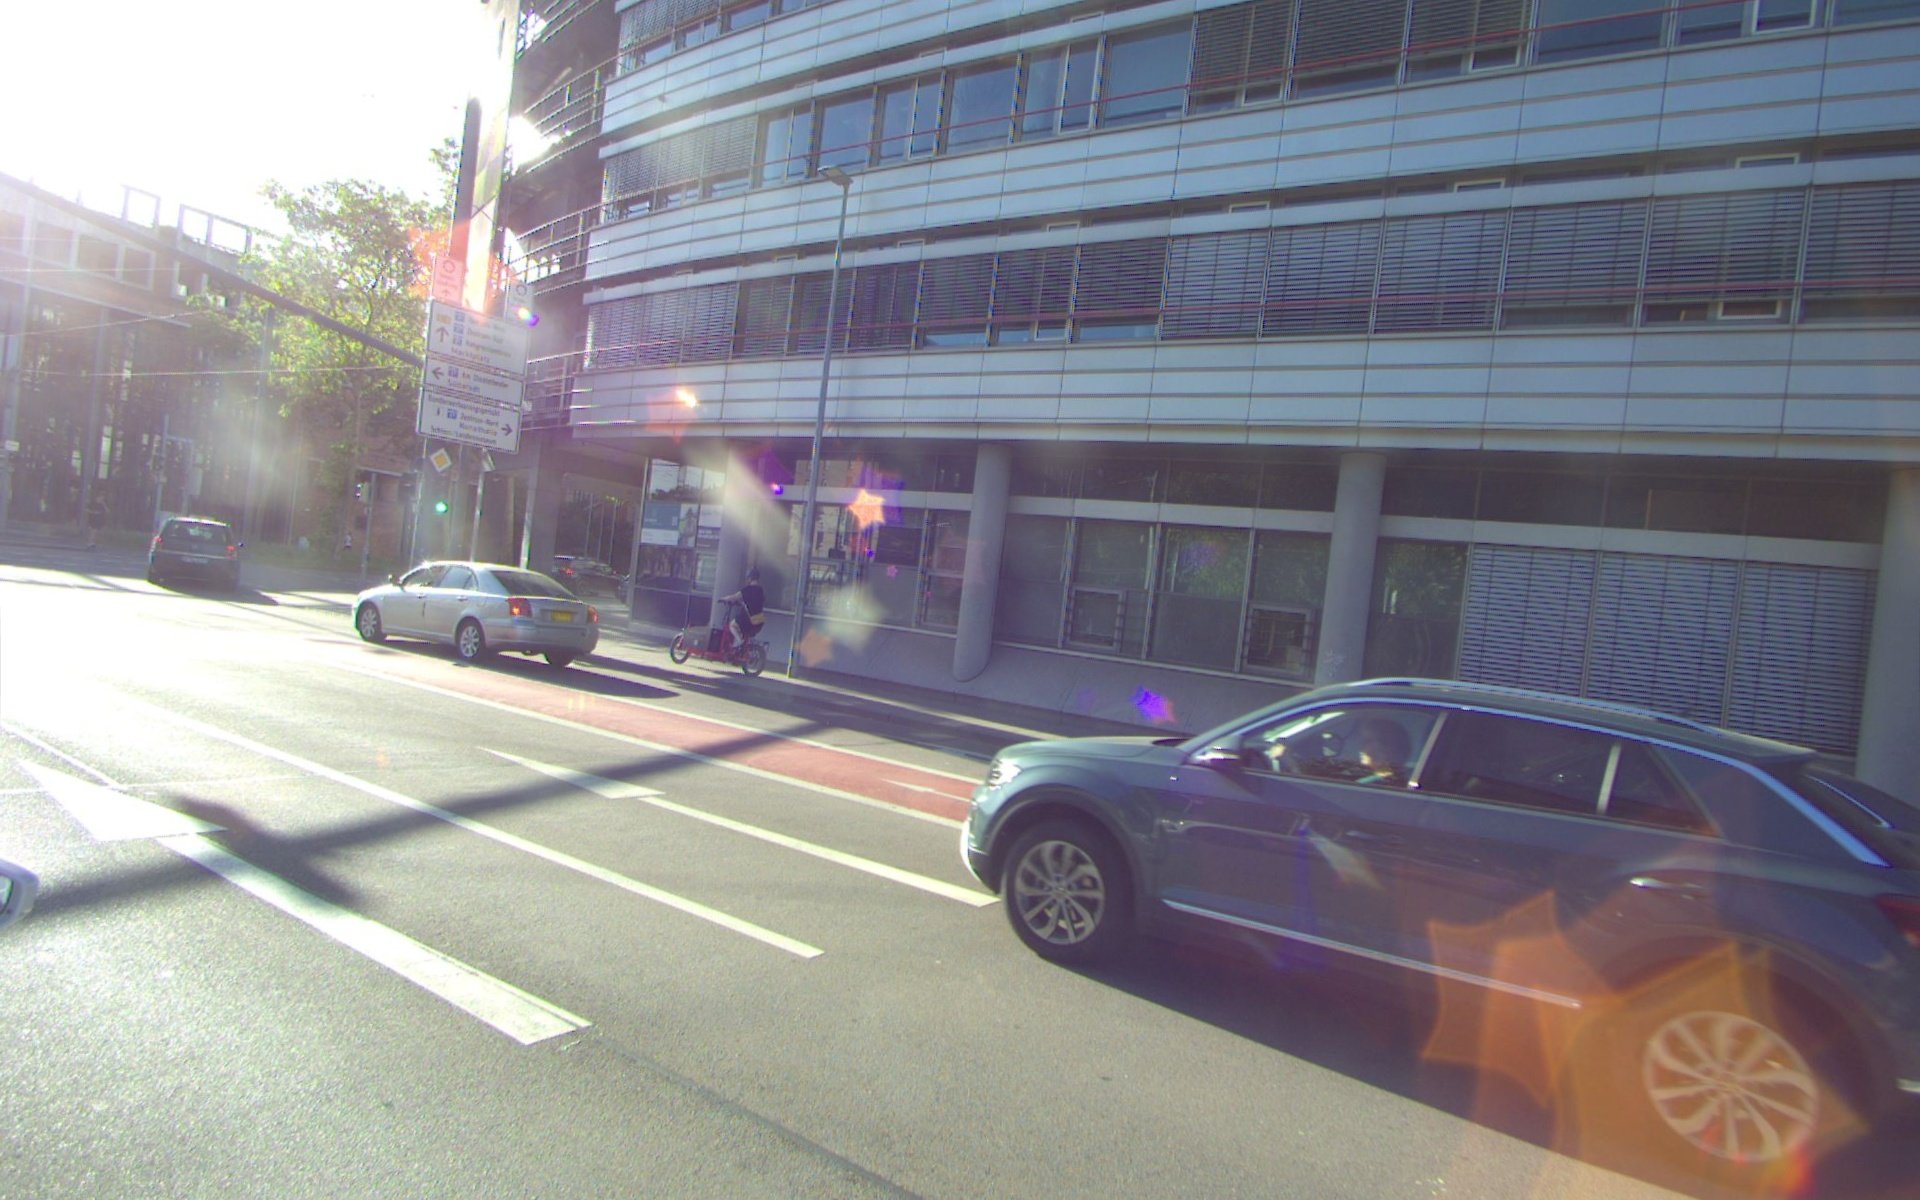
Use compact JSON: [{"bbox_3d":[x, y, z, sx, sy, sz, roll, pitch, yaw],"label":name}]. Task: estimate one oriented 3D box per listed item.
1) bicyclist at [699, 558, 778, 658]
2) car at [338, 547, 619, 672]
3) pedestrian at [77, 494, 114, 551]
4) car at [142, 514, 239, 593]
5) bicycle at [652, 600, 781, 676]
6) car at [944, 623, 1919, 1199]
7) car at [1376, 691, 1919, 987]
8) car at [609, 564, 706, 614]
[{"bbox_3d":[-3.792,0.143,17.238,1.025,1.586,0.626,6,0,26],"label":"bicyclist"},{"bbox_3d":[-7.726,0.131,16.049,4.412,1.448,1.754,7,0,30],"label":"car"},{"bbox_3d":[-28.392,-2.533,33.051,0.701,1.781,0.556,6,1,-33],"label":"pedestrian"},{"bbox_3d":[-19.428,-1.215,25.357,1.680,1.649,4.415,7,-1,-39],"label":"car"},{"bbox_3d":[-4.219,0.649,17.403,2.165,1.045,0.500,7,0,21],"label":"bicycle"},{"bbox_3d":[2.058,1.122,4.814,3.817,1.523,1.746,7,0,33],"label":"car"},{"bbox_3d":[5.639,1.751,8.006,4.040,1.459,1.713,7,0,28],"label":"car"},{"bbox_3d":[-13.453,-0.454,45.012,1.832,1.670,4.000,7,-2,24],"label":"car"}]
